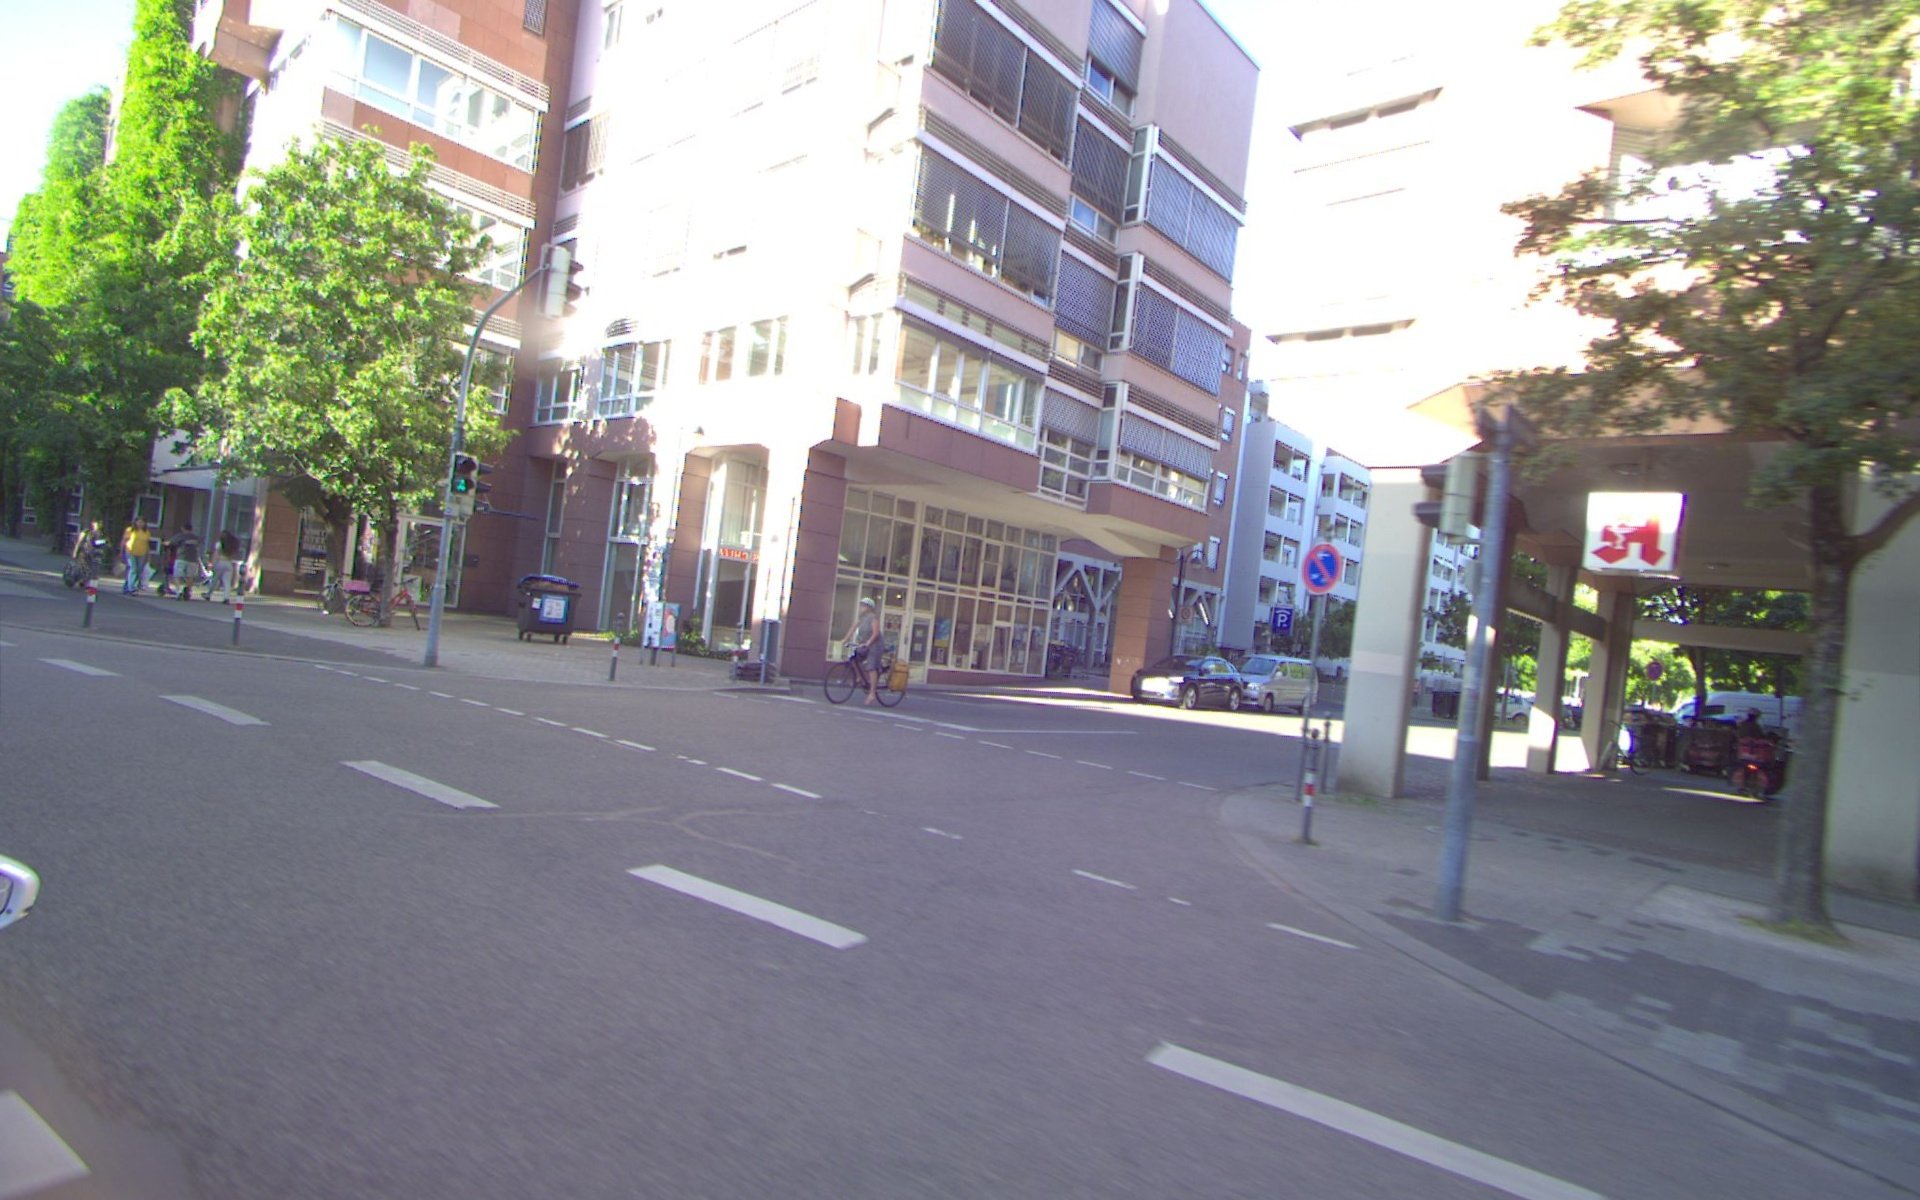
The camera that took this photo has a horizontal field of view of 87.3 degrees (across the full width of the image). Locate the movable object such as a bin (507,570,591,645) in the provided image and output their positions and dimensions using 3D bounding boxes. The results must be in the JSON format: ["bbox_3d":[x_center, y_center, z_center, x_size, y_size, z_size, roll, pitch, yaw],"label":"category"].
[{"bbox_3d":[-9.332,0.177,22.885,0.860,1.499,1.407,6,-1,44],"label":"movable object such as a bin"}]

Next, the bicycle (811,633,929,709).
[{"bbox_3d":[-1.505,1.235,17.158,0.792,1.126,1.913,6,-1,40],"label":"bicycle"}]

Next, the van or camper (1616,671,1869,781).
[{"bbox_3d":[27.064,4.289,35.084,6.330,2.800,2.360,7,-1,13],"label":"van or camper"}]

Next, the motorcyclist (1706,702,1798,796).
[{"bbox_3d":[16.462,3.079,20.960,1.314,1.709,1.172,6,-2,36],"label":"motorcyclist"}]

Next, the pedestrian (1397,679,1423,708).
[{"bbox_3d":[25.467,5.279,56.947,1.009,1.505,0.892,6,-1,39],"label":"pedestrian"}]

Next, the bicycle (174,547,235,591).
[{"bbox_3d":[-19.715,-0.801,26.234,1.725,0.951,0.737,6,-1,37],"label":"bicycle"}]

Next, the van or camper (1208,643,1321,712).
[{"bbox_3d":[10.614,2.725,34.872,1.778,1.996,4.553,6,-2,43],"label":"van or camper"}]

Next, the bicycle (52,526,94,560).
[{"bbox_3d":[-31.805,-2.034,36.072,1.884,1.033,0.618,6,-1,35],"label":"bicycle"}]

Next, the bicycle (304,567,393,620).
[{"bbox_3d":[-14.802,-0.151,24.412,1.734,1.065,0.733,8,-1,-31],"label":"bicycle"}]

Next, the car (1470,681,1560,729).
[{"bbox_3d":[29.696,5.594,53.896,1.716,1.996,3.684,7,-1,-36],"label":"car"}]

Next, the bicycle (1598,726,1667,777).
[{"bbox_3d":[15.959,3.592,23.872,1.298,1.032,0.610,7,-1,-19],"label":"bicycle"}]

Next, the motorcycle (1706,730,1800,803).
[{"bbox_3d":[16.482,3.419,21.007,1.328,1.192,2.820,6,-2,36],"label":"motorcycle"}]

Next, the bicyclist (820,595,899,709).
[{"bbox_3d":[-1.684,0.871,16.897,0.777,1.791,0.824,6,0,40],"label":"bicyclist"}]

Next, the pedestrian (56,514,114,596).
[{"bbox_3d":[-18.239,-0.938,20.973,0.736,1.597,0.644,7,0,36],"label":"pedestrian"}]

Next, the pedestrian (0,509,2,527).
[{"bbox_3d":[-43.082,-3.344,44.559,0.769,1.462,0.764,6,-2,41],"label":"pedestrian"}]

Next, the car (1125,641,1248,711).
[{"bbox_3d":[6.922,2.344,30.487,1.776,1.742,4.181,6,-2,40],"label":"car"}]

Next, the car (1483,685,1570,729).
[{"bbox_3d":[31.411,5.914,55.844,1.716,1.828,3.684,7,-1,-36],"label":"car"}]

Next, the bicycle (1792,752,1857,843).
[{"bbox_3d":[12.727,2.862,14.830,0.585,1.107,2.440,6,-1,41],"label":"bicycle"}]

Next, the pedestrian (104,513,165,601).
[{"bbox_3d":[-17.687,-0.920,21.563,0.756,1.754,0.700,7,0,36],"label":"pedestrian"}]

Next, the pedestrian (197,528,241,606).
[{"bbox_3d":[-16.908,-0.758,22.958,0.669,1.693,0.459,7,0,34],"label":"pedestrian"}]

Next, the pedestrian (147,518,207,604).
[{"bbox_3d":[-17.435,-0.869,22.405,0.601,1.784,0.785,7,0,39],"label":"pedestrian"}]

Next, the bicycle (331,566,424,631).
[{"bbox_3d":[-12.767,-0.020,22.094,0.569,1.241,1.567,7,-1,38],"label":"bicycle"}]

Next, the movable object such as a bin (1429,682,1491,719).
[{"bbox_3d":[24.207,4.858,48.698,1.719,1.517,2.134,7,-2,-42],"label":"movable object such as a bin"}]

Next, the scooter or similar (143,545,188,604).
[{"bbox_3d":[-17.440,-0.559,22.072,1.231,1.172,0.394,6,0,38],"label":"scooter or similar"}]

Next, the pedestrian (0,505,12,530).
[{"bbox_3d":[-66.630,-5.749,70.208,0.369,1.646,0.449,7,0,37],"label":"pedestrian"}]
